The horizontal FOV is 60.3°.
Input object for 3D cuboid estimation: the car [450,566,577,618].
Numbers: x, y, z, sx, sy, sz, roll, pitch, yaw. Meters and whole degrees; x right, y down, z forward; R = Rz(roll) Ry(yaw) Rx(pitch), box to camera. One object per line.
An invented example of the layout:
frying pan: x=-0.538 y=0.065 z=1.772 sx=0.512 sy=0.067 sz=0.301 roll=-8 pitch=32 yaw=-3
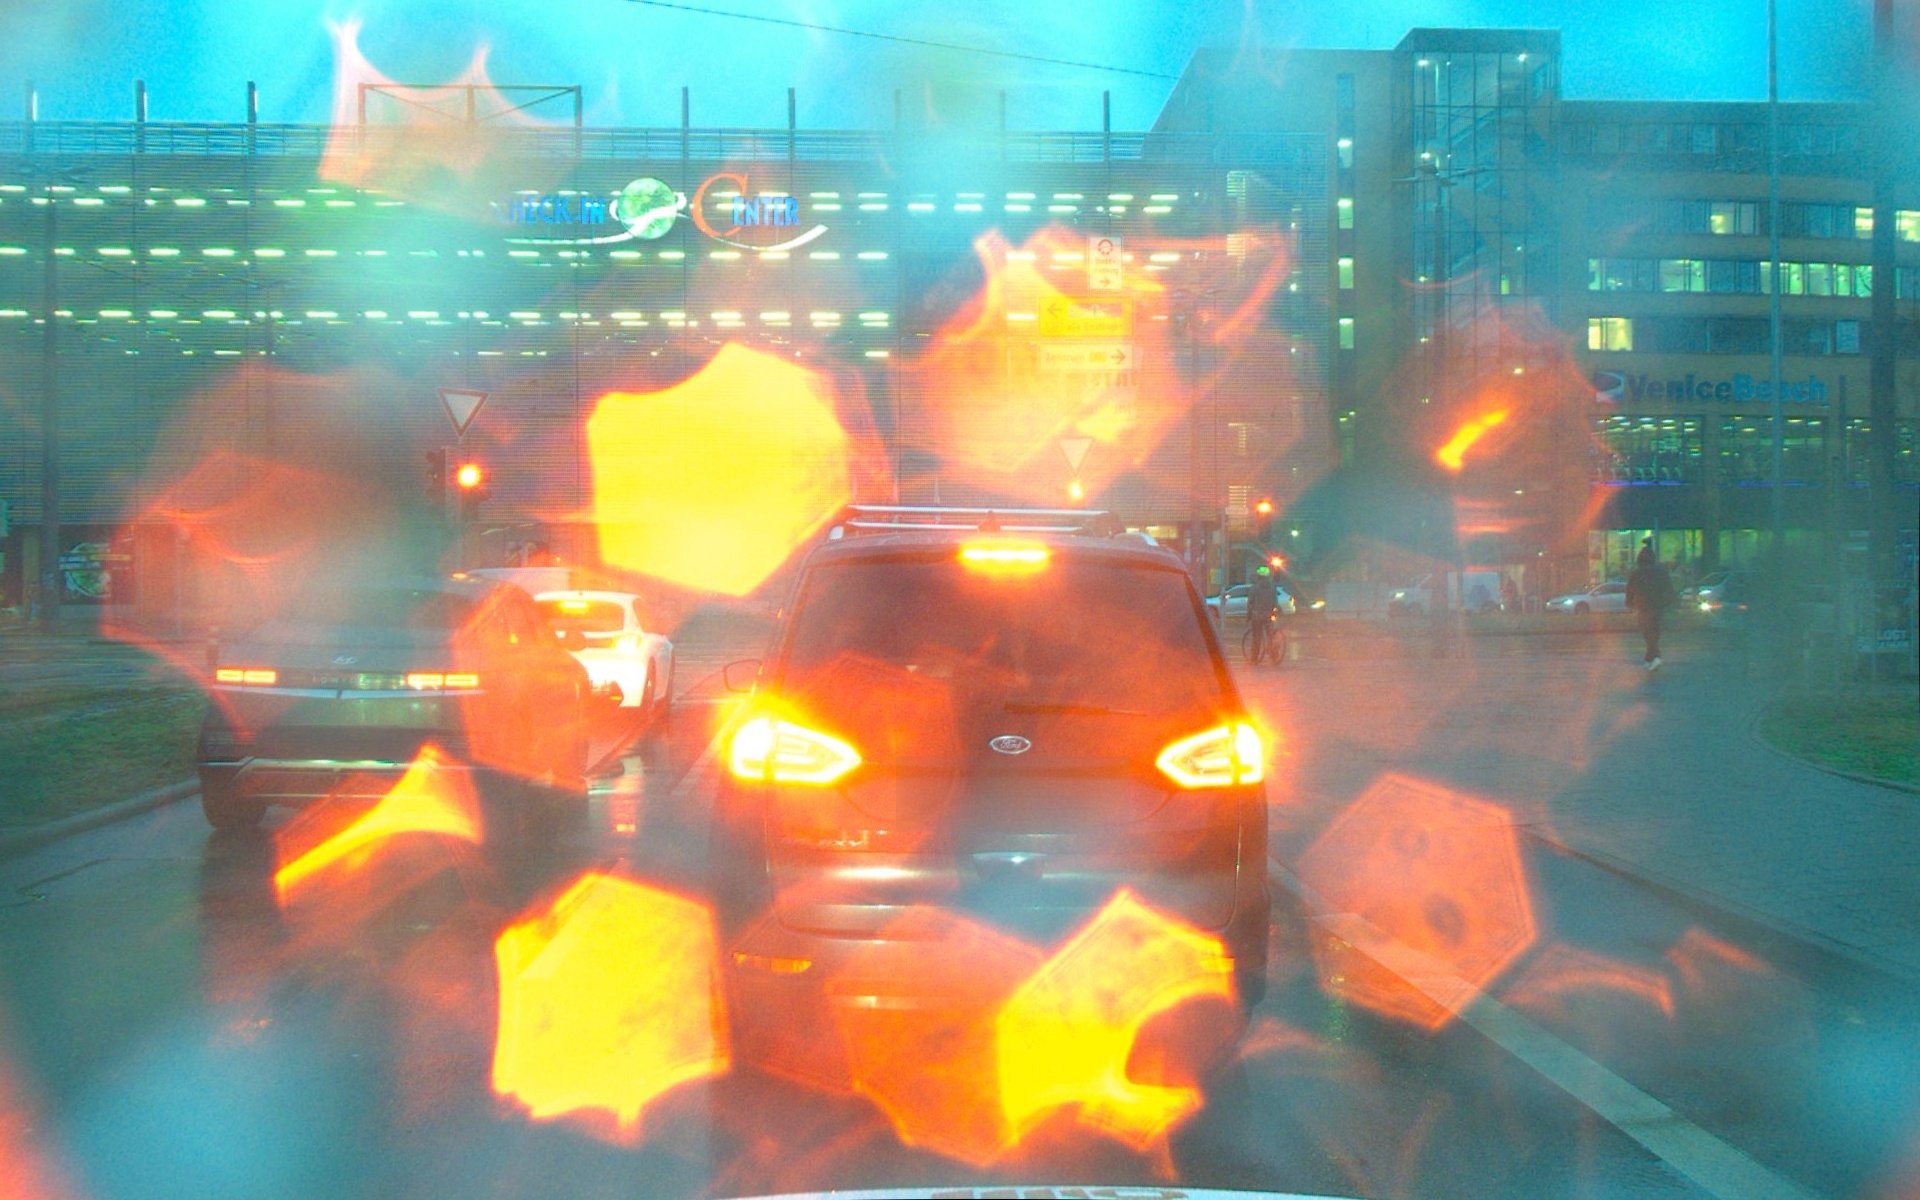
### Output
car: x=-18.065 y=-0.332 z=67.064 sx=4.747 sy=2.035 sz=1.797 roll=-1 pitch=0 yaw=-8

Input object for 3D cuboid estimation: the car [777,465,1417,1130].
car: x=0.276 y=0.530 z=6.633 sx=1.700 sy=1.768 sz=4.244 roll=2 pitch=0 yaw=-3

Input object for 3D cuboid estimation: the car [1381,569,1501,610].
car: x=19.557 y=-0.418 z=67.274 sx=4.336 sy=1.623 sz=1.797 roll=-1 pitch=0 yaw=-8

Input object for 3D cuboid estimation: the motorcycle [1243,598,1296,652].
motorcycle: x=5.926 y=0.464 z=31.731 sx=0.835 sy=0.989 sz=1.582 roll=0 pitch=0 yaw=5

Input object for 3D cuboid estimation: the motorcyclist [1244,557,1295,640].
motorcyclist: x=5.928 y=-0.025 z=31.745 sx=0.850 sy=1.561 sz=1.109 roll=0 pitch=0 yaw=5

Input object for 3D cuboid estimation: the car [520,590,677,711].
car: x=-4.142 y=0.521 z=19.425 sx=1.512 sy=1.273 sz=4.060 roll=0 pitch=0 yaw=-8

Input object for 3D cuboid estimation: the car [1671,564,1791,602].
car: x=32.695 y=-0.703 z=70.153 sx=4.348 sy=1.561 sz=1.797 roll=-1 pitch=0 yaw=-8

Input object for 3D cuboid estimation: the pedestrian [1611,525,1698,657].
pedestrian: x=10.602 y=-0.143 z=25.294 sx=1.146 sy=1.957 sz=0.898 roll=2 pitch=0 yaw=22

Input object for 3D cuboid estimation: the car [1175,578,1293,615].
car: x=10.992 y=-0.146 z=66.523 sx=4.336 sy=1.414 sz=1.797 roll=-1 pitch=0 yaw=-8

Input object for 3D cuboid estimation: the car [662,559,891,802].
car: x=-1.466 y=0.579 z=13.651 sx=1.604 sy=1.726 sz=3.667 roll=1 pitch=0 yaw=-5

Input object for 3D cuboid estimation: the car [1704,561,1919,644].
car: x=20.501 y=0.064 z=39.703 sx=4.583 sy=1.883 sz=1.828 roll=-1 pitch=0 yaw=-10

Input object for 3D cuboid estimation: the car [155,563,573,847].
car: x=-3.865 y=0.585 z=11.451 sx=1.718 sy=1.601 sz=3.996 roll=0 pitch=0 yaw=-5
